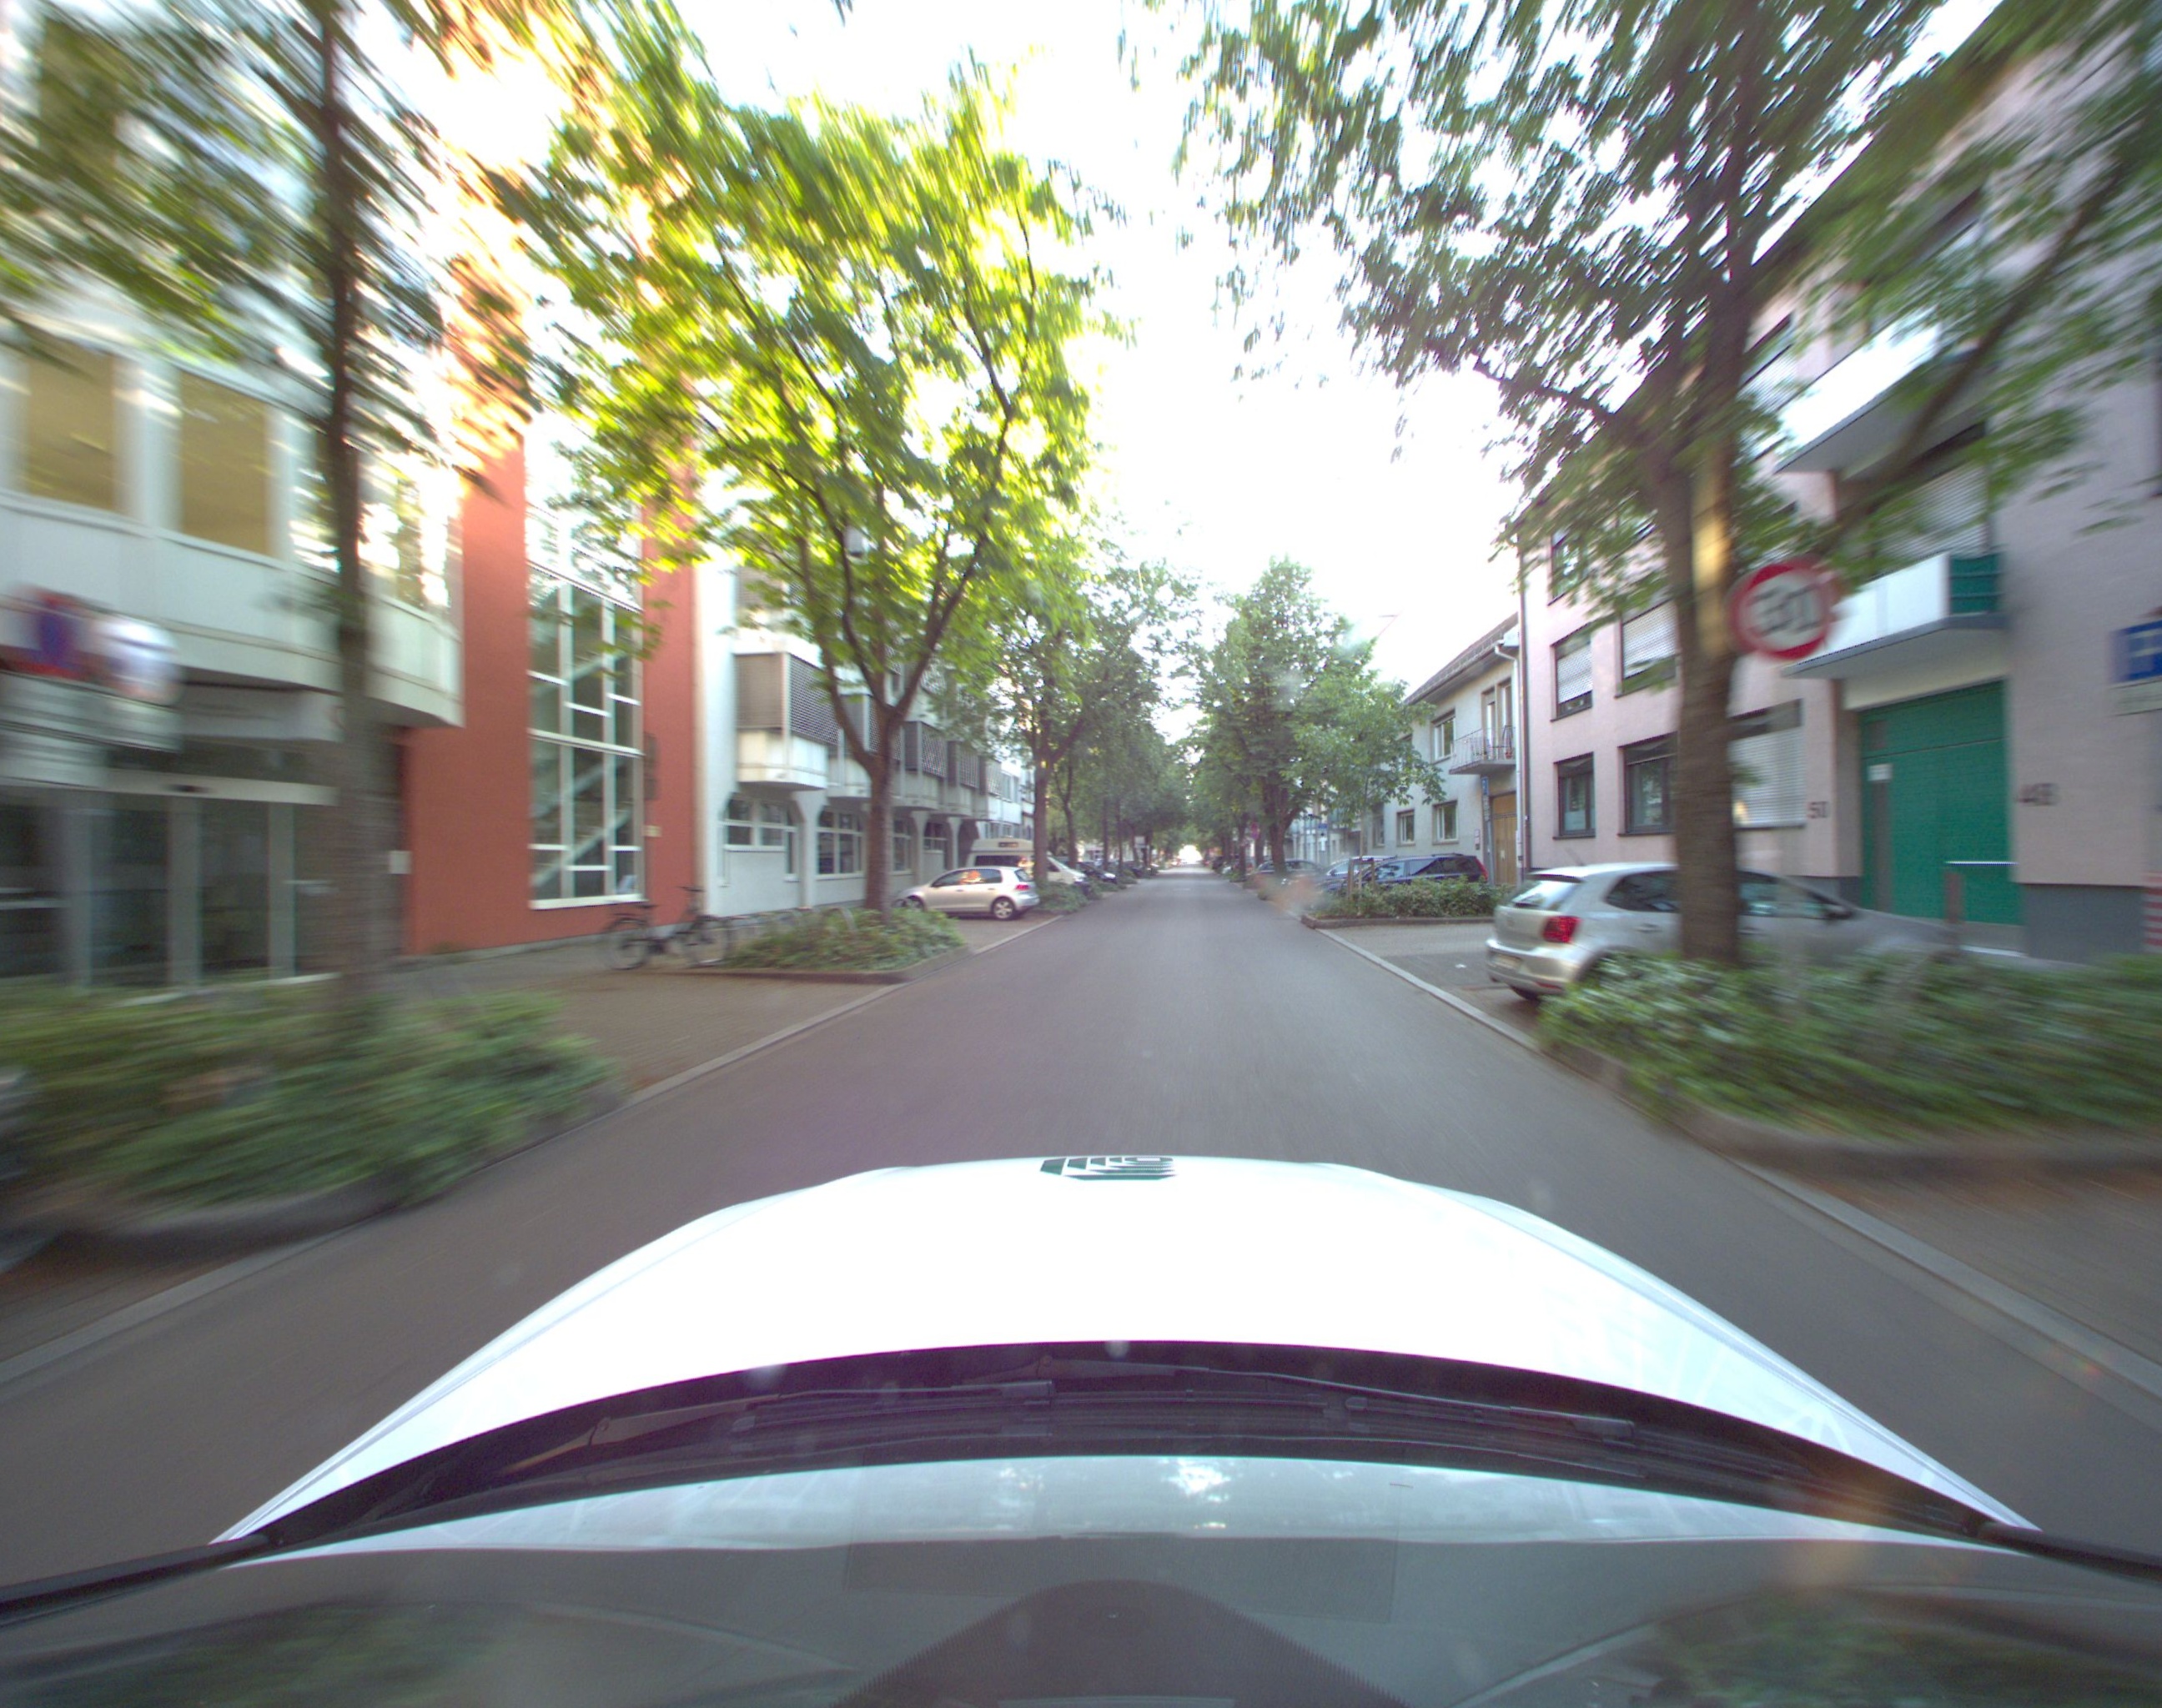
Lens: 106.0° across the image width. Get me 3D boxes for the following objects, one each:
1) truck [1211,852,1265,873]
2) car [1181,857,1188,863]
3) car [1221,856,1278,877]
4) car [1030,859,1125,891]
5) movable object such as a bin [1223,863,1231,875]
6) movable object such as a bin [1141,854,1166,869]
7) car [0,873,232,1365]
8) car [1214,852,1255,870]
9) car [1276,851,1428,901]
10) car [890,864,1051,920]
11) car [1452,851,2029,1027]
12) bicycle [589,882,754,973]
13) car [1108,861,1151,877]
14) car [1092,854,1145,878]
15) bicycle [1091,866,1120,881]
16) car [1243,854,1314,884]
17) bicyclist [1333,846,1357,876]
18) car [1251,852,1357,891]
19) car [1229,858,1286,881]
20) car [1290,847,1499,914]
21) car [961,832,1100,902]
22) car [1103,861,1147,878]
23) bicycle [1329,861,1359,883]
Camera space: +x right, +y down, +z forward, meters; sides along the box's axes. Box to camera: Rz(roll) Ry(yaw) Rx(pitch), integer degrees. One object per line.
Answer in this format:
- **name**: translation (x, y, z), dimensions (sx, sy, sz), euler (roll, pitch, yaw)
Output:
- **truck**: translation (17.868, 0.936, 92.921), dimensions (5.854, 2.311, 2.217), euler (-1, -1, 8)
- **car**: translation (31.778, 1.847, 249.953), dimensions (1.999, 1.613, 4.127), euler (0, 1, 6)
- **car**: translation (14.433, 1.077, 69.904), dimensions (4.576, 1.468, 1.799), euler (-4, -1, 6)
- **car**: translation (-0.137, 1.107, 43.753), dimensions (4.825, 1.622, 2.165), euler (-1, -1, 8)
- **movable object such as a bin**: translation (14.536, 1.477, 81.036), dimensions (0.756, 1.084, 0.787), euler (-3, -1, 8)
- **movable object such as a bin**: translation (12.105, 1.238, 136.752), dimensions (4.030, 2.383, 2.786), euler (-1, 0, 2)
- **car**: translation (-5.655, 0.864, 2.503), dimensions (4.485, 1.526, 1.875), euler (-1, -1, 7)
- **car**: translation (18.028, 0.804, 95.673), dimensions (4.576, 2.066, 2.201), euler (-1, -1, 6)
- **car**: translation (9.199, 0.739, 28.020), dimensions (4.650, 1.388, 2.005), euler (-4, -1, 9)
- **car**: translation (-3.100, 1.063, 23.268), dimensions (4.144, 1.468, 1.957), euler (-1, -1, 8)
- **car**: translation (6.042, 0.751, 7.921), dimensions (4.063, 1.490, 1.800), euler (-1, -1, 4)
- **bicycle**: translation (-5.670, 1.011, 11.347), dimensions (1.951, 1.176, 0.656), euler (-1, -1, 1)
- **car**: translation (4.836, 1.489, 80.732), dimensions (3.960, 1.566, 1.936), euler (-1, -1, 12)
- **car**: translation (3.289, 1.052, 70.560), dimensions (4.482, 1.955, 2.003), euler (-1, -1, 6)
- **bicycle**: translation (1.380, 1.110, 45.710), dimensions (1.543, 0.830, 0.615), euler (-1, -1, 10)
- **car**: translation (12.039, 0.896, 49.931), dimensions (3.948, 1.585, 1.920), euler (-4, -1, 7)
- **bicyclist**: translation (14.317, 0.384, 44.228), dimensions (0.965, 1.604, 1.138), euler (-1, -1, 5)
- **car**: translation (10.024, 0.784, 36.854), dimensions (4.429, 1.427, 2.018), euler (-4, -1, 12)
- **car**: translation (13.814, 1.193, 63.896), dimensions (4.067, 1.451, 1.936), euler (-4, -1, 2)
- **car**: translation (8.146, 0.695, 21.622), dimensions (4.810, 1.448, 2.047), euler (-3, -1, 9)
- **car**: translation (-1.894, 0.499, 31.441), dimensions (4.976, 2.573, 2.125), euler (-1, 0, 7)
- **car**: translation (4.098, 1.442, 75.727), dimensions (3.967, 1.464, 1.925), euler (-1, -1, 6)
- **bicycle**: translation (14.135, 0.959, 43.919), dimensions (0.618, 1.164, 3.403), euler (-1, -1, 2)
